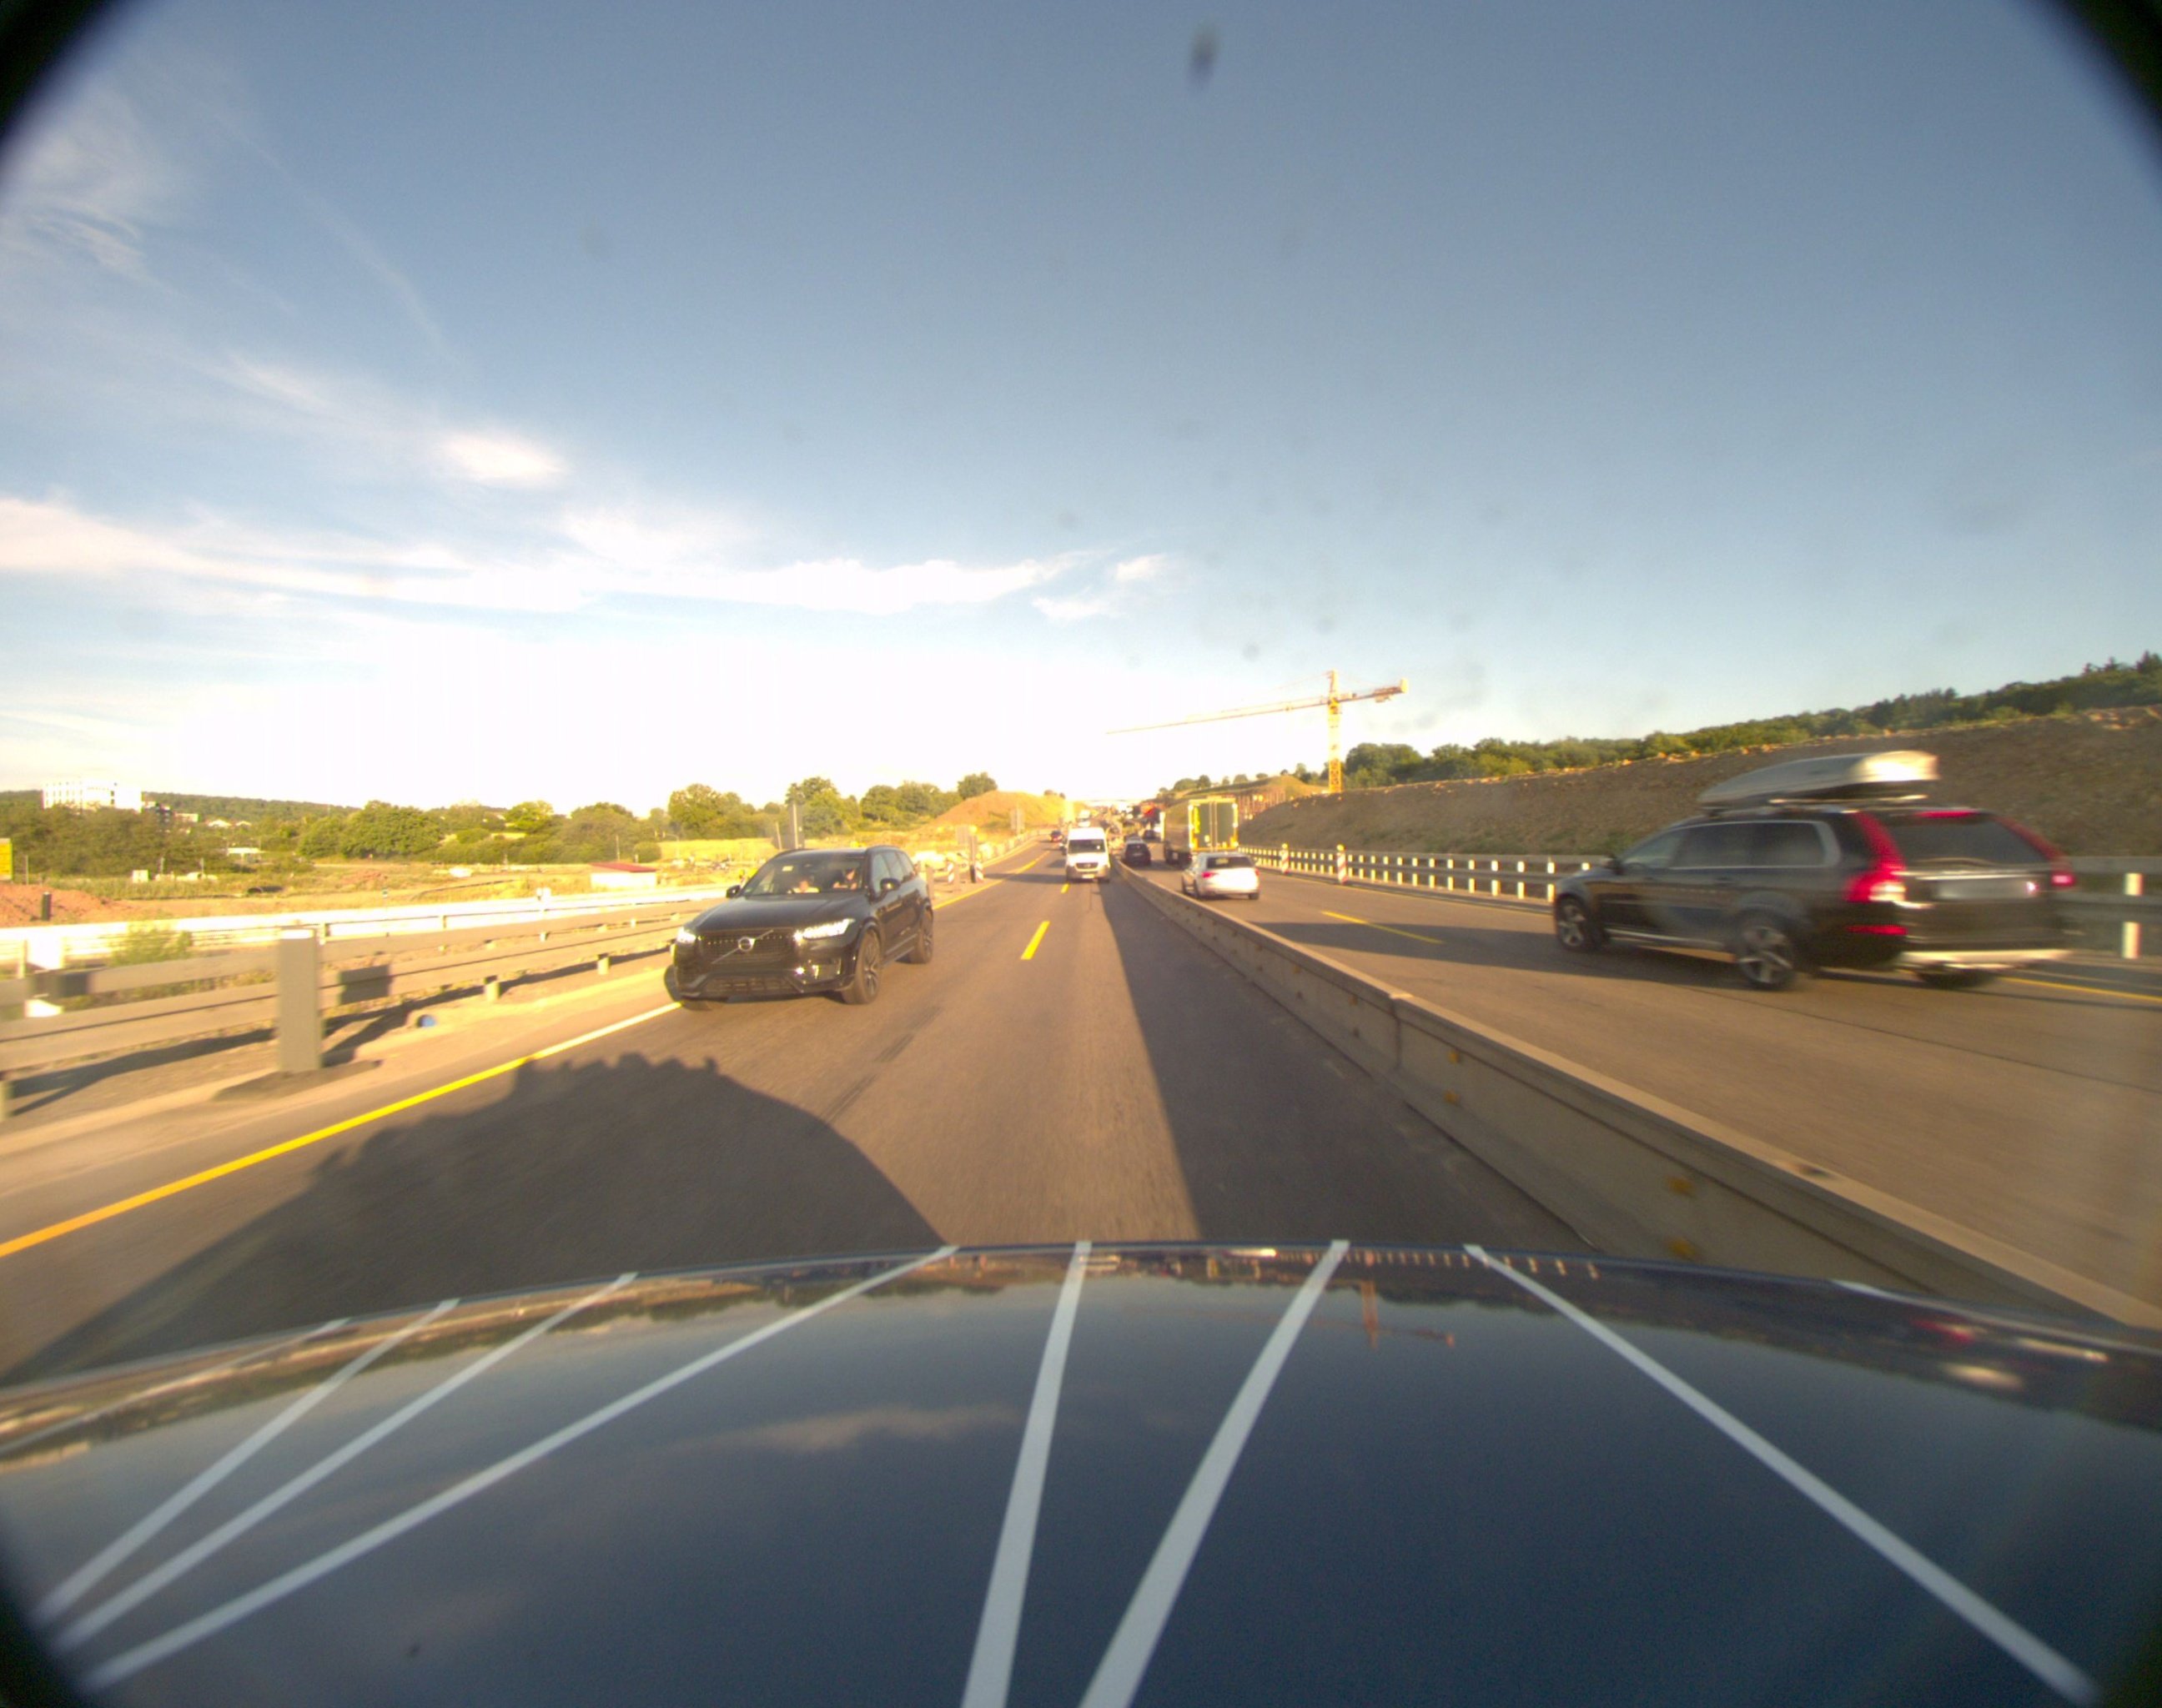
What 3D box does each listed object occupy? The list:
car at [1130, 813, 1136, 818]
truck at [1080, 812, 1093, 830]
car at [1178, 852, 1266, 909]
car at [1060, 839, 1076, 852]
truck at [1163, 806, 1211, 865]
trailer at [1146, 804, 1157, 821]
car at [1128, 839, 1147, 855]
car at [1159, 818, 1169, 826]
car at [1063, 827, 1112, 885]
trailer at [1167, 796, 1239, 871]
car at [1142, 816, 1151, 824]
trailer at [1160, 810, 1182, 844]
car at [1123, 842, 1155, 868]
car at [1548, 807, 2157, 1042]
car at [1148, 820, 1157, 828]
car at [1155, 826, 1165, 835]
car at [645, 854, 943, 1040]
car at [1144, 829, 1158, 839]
[{"bbox_3d":[17.120,-12.610,249.210,1.734,1.592,4.657,-2,4,1],"label":"car"},{"bbox_3d":[1.251,-7.273,166.957,2.263,3.708,6.570,-4,4,5],"label":"truck"},{"bbox_3d":[4.140,0.730,22.917,1.866,1.424,4.154,-3,1,1],"label":"car"},{"bbox_3d":[-1.535,-1.006,91.765,1.791,1.477,4.000,-2,0,0],"label":"car"},{"bbox_3d":[7.706,-1.321,55.716,2.776,4.058,5.775,-2,1,2],"label":"truck"},{"bbox_3d":[20.059,-11.935,215.935,2.589,4.448,14.130,-3,4,4],"label":"trailer"},{"bbox_3d":[5.400,-0.677,73.379,1.719,1.402,4.327,-2,2,3],"label":"car"},{"bbox_3d":[17.120,-6.585,156.195,1.792,1.350,4.635,-2,3,9],"label":"car"},{"bbox_3d":[0.359,-0.005,36.514,2.109,2.519,5.219,-2,2,2],"label":"car"},{"bbox_3d":[7.474,-1.224,48.531,2.780,4.008,13.681,-1,1,2],"label":"trailer"},{"bbox_3d":[17.215,-8.929,199.287,1.997,2.003,5.257,-2,4,10],"label":"car"},{"bbox_3d":[12.634,-3.852,105.763,2.536,4.191,13.935,-3,3,8],"label":"trailer"},{"bbox_3d":[4.066,0.017,53.781,1.916,1.600,4.493,-2,2,1],"label":"car"},{"bbox_3d":[7.364,0.520,8.117,1.998,1.754,4.440,-2,1,0],"label":"car"},{"bbox_3d":[16.847,-7.120,178.752,1.792,1.611,4.874,-2,3,9],"label":"car"},{"bbox_3d":[14.176,-4.289,136.199,1.792,1.480,4.219,-1,3,5],"label":"car"},{"bbox_3d":[-3.181,0.890,9.699,1.902,1.703,4.887,-2,0,0],"label":"car"},{"bbox_3d":[10.832,-3.112,117.246,1.853,1.475,4.511,-1,3,7],"label":"car"}]
